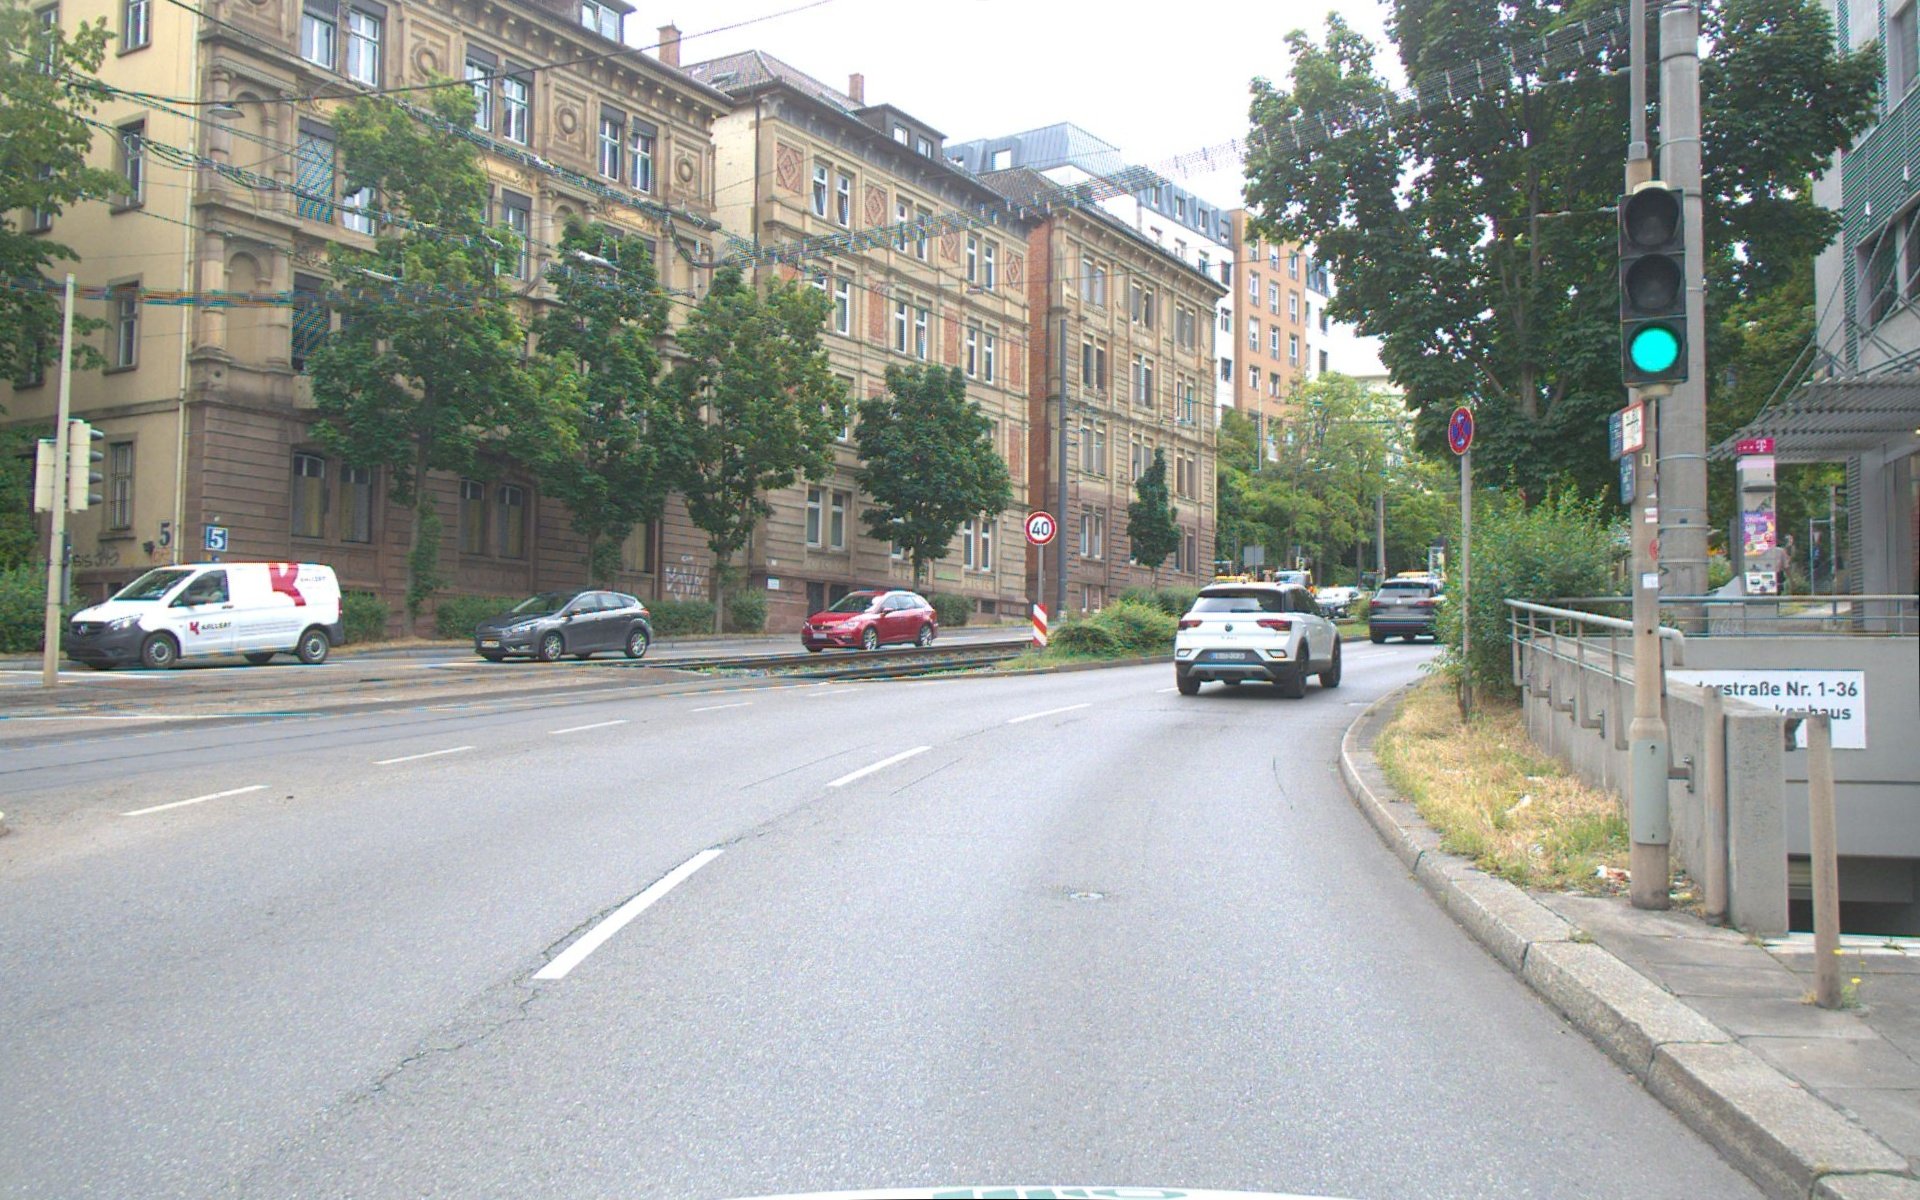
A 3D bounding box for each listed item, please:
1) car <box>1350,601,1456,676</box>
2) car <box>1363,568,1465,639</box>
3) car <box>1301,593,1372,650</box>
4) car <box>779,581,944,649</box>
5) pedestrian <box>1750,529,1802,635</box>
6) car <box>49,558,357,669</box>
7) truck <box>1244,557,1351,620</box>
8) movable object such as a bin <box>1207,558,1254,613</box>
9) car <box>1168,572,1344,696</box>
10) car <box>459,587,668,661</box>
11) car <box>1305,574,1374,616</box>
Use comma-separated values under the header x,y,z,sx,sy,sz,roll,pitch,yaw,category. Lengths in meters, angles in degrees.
x,y,z,sx,sy,sz,roll,pitch,yaw,category
10.490,0.919,38.997,1.864,1.601,3.833,2,-1,23,car
11.981,0.094,43.485,1.804,1.770,3.995,0,0,27,car
17.559,1.031,77.037,1.785,1.475,4.938,1,-14,30,car
-2.353,0.387,40.680,1.956,1.545,4.398,1,-1,29,car
14.299,-0.315,28.999,0.658,1.826,0.609,1,0,11,pedestrian
-13.846,0.266,30.585,1.956,1.882,4.983,-1,-1,30,car
17.259,-0.532,84.307,2.867,2.551,7.136,9,3,31,truck
14.349,-0.755,87.675,1.954,2.888,2.028,-1,-1,26,movable object such as a bin
4.377,0.456,23.968,1.898,1.594,4.047,2,0,19,car
-8.254,0.480,34.808,1.710,1.452,4.396,0,0,31,car
17.754,-0.252,77.166,1.844,1.819,4.508,-3,-1,30,car
